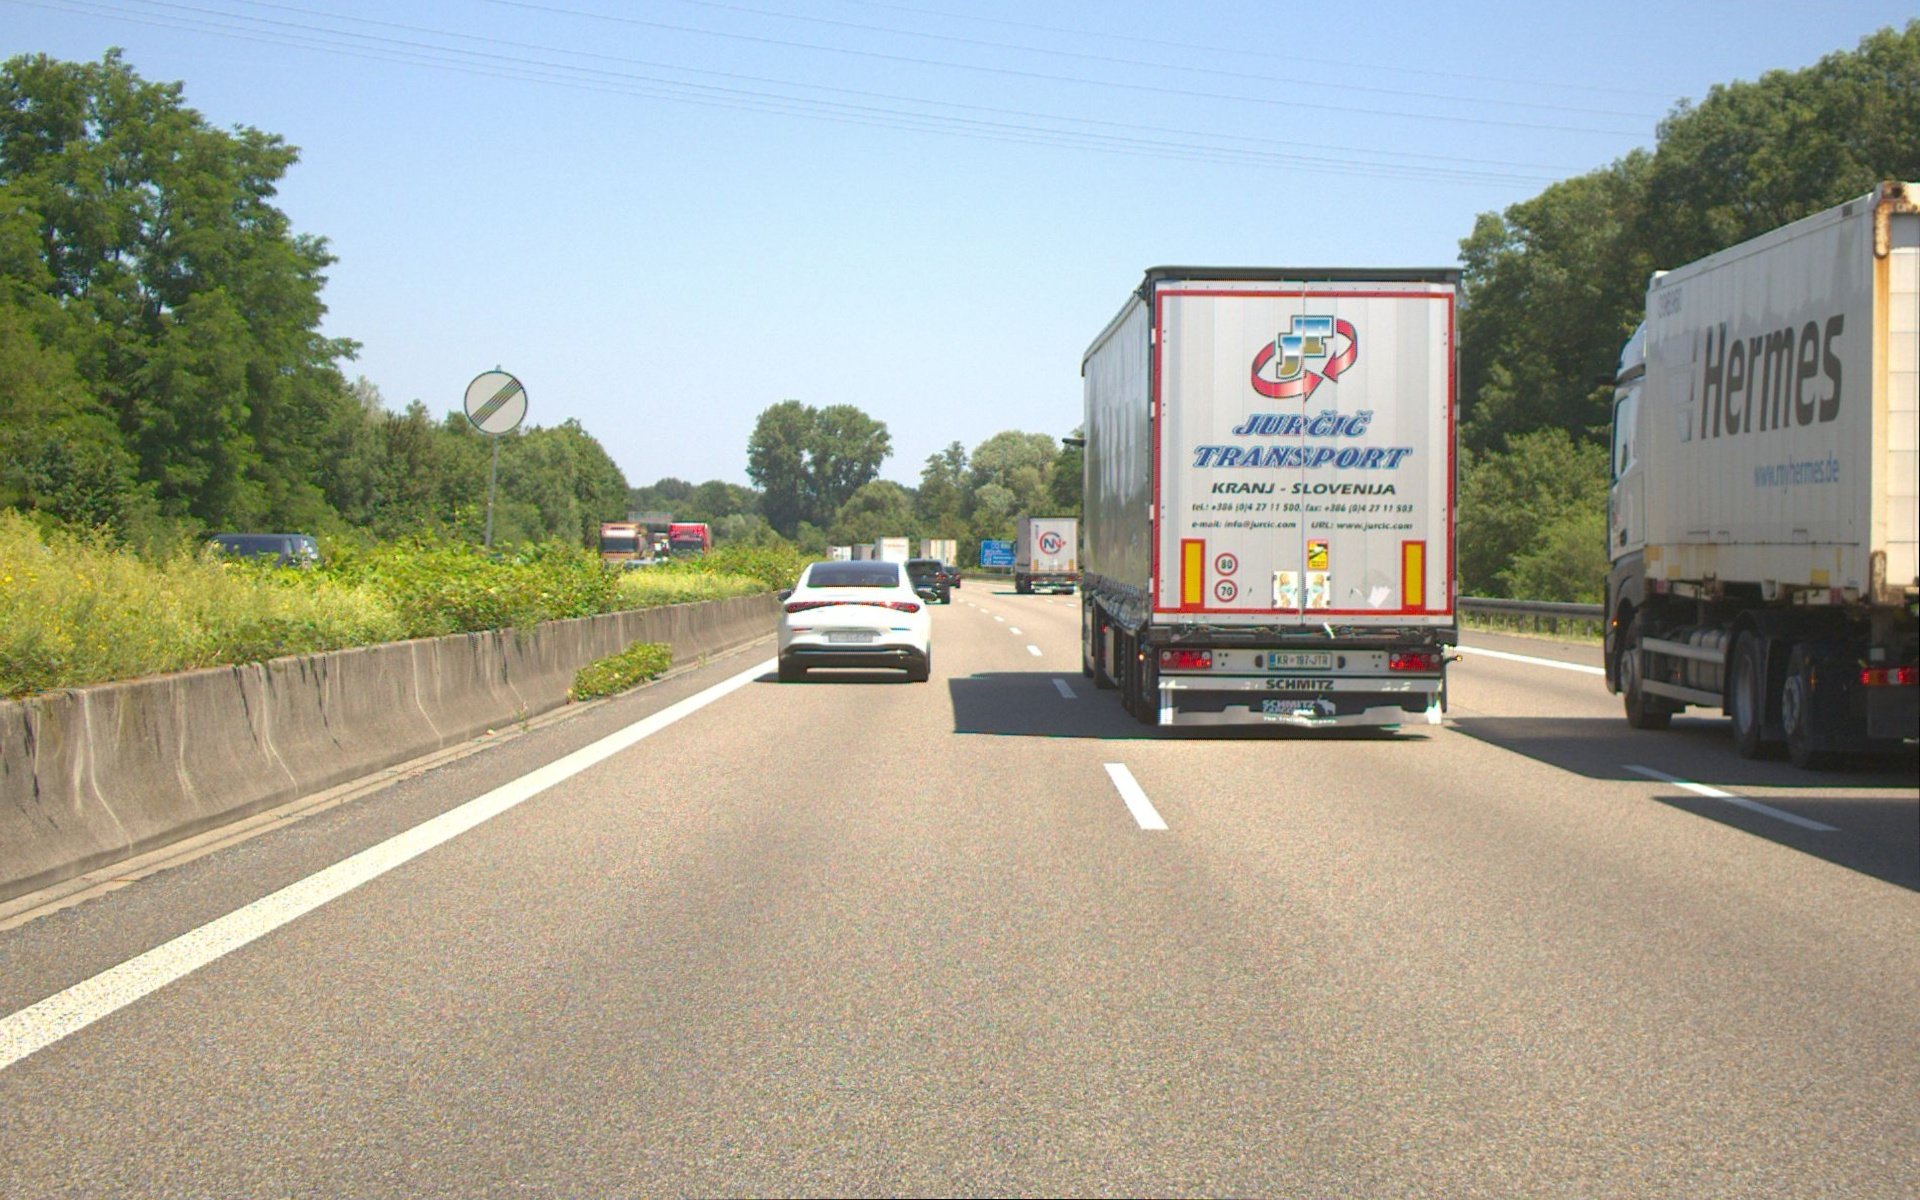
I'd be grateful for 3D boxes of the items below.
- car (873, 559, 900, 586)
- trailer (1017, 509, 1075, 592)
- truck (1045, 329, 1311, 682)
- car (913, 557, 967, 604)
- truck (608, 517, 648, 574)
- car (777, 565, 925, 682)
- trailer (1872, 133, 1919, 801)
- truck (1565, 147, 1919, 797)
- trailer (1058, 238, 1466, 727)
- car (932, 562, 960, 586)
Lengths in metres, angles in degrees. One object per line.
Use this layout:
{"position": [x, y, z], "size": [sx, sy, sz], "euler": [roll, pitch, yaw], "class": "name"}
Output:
{"position": [-4.877, -1.833, 227.782], "size": [1.723, 1.777, 4.000], "euler": [1, 1, -1], "class": "car"}
{"position": [4.574, -2.629, 185.002], "size": [2.624, 4.246, 14.061], "euler": [1, 1, 0], "class": "trailer"}
{"position": [2.554, -1.100, 42.200], "size": [2.722, 3.961, 6.502], "euler": [1, 1, -1], "class": "truck"}
{"position": [-0.759, -0.759, 132.387], "size": [1.993, 1.766, 4.000], "euler": [1, 1, 1], "class": "car"}
{"position": [-21.151, -3.483, 219.204], "size": [2.356, 3.589, 4.164], "euler": [1, 0, -3], "class": "truck"}
{"position": [-1.329, 0.260, 42.237], "size": [1.715, 1.365, 3.375], "euler": [1, 1, -1], "class": "car"}
{"position": [7.113, -0.749, 16.121], "size": [2.555, 4.046, 11.263], "euler": [1, 1, 0], "class": "trailer"}
{"position": [7.043, -0.848, 27.136], "size": [2.526, 4.116, 10.669], "euler": [1, 1, 0], "class": "truck"}
{"position": [2.665, -1.026, 34.942], "size": [2.740, 3.961, 13.655], "euler": [1, 1, -1], "class": "trailer"}
{"position": [-0.950, -1.733, 227.679], "size": [1.723, 1.580, 4.000], "euler": [1, 1, -1], "class": "car"}
